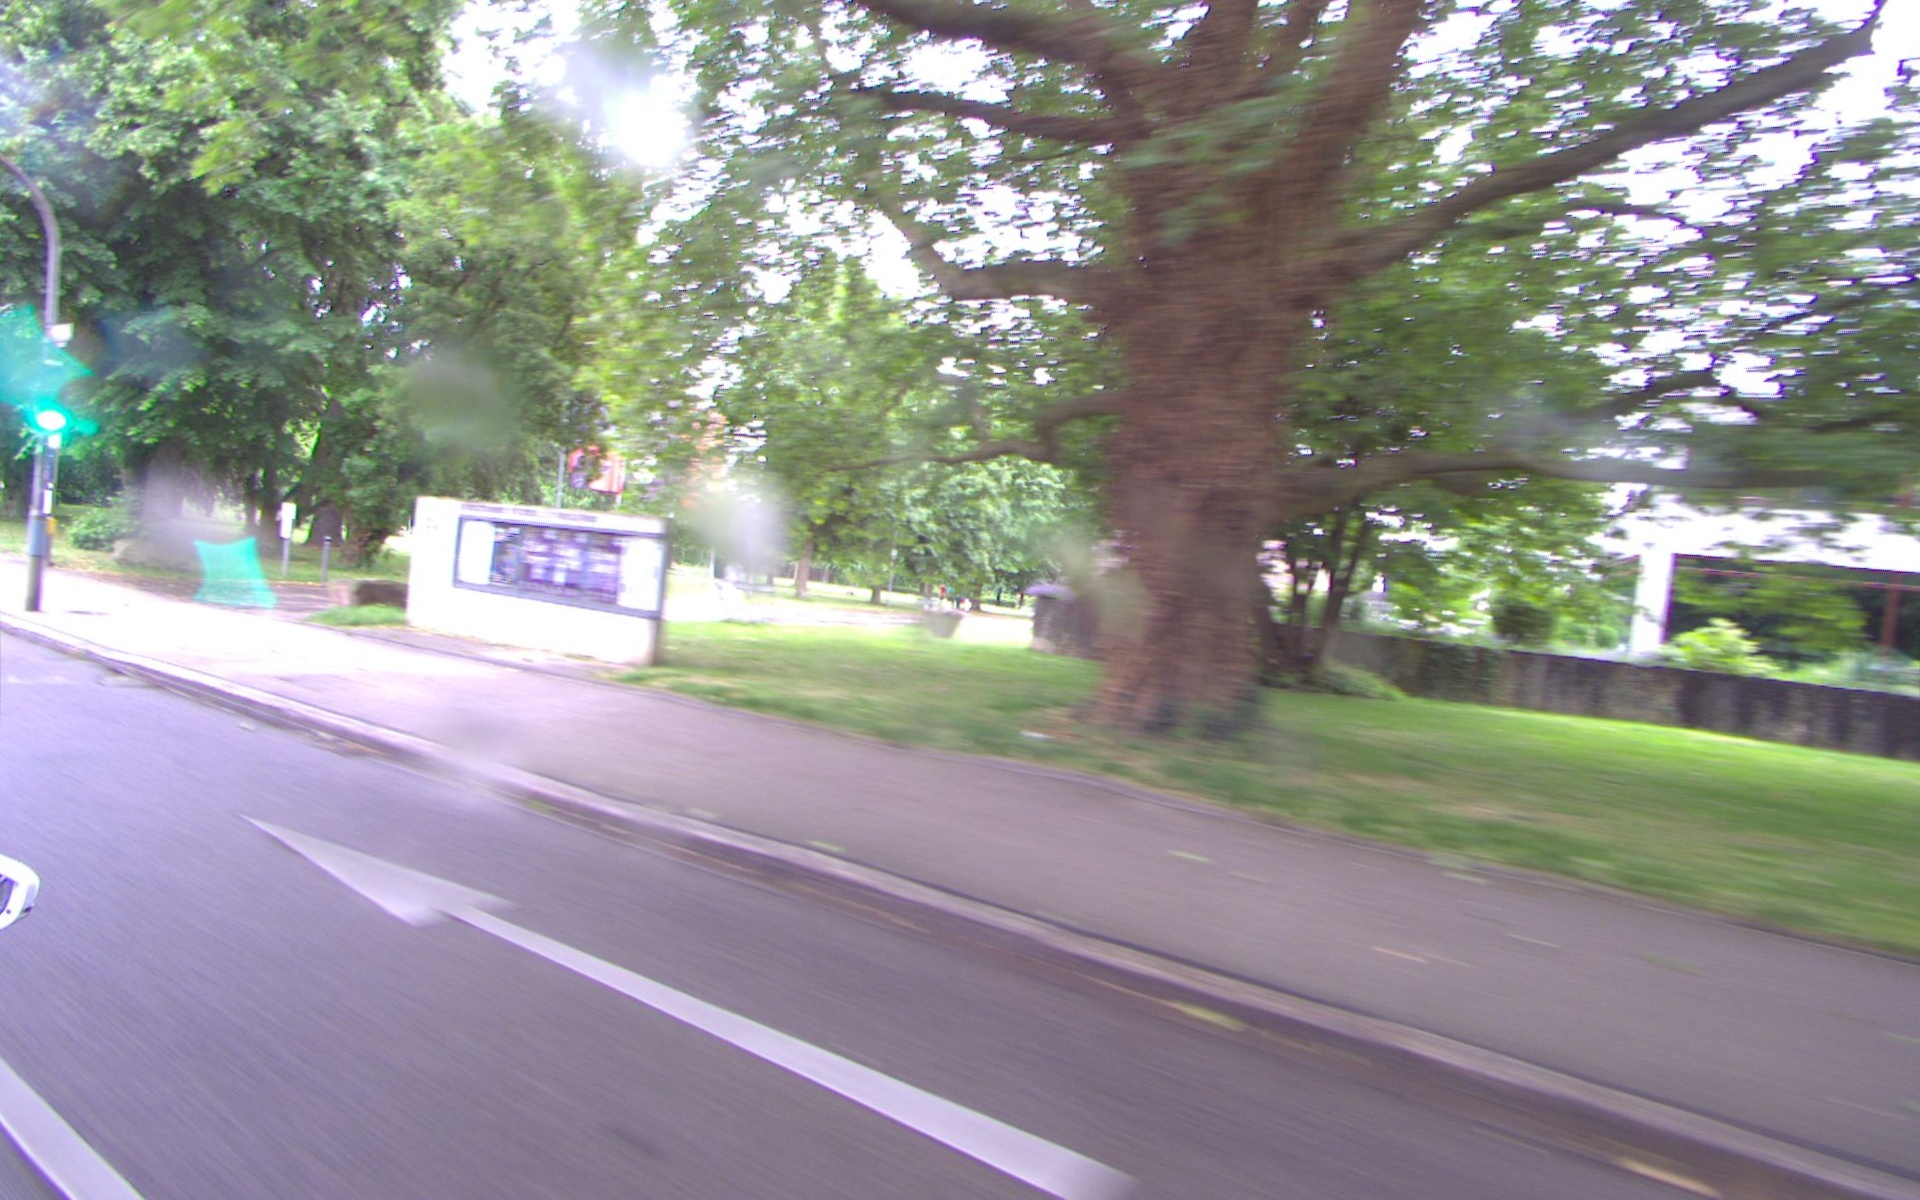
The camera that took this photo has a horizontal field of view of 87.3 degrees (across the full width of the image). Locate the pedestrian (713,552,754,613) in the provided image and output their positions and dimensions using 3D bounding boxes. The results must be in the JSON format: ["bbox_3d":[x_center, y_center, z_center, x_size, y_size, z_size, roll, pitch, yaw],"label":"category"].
[{"bbox_3d":[-6.829,-0.522,30.367,0.776,1.732,0.666,6,-1,23],"label":"pedestrian"}]

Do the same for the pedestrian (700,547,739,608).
[{"bbox_3d":[-7.474,-0.699,31.262,0.711,1.776,0.666,6,-1,23],"label":"pedestrian"}]
